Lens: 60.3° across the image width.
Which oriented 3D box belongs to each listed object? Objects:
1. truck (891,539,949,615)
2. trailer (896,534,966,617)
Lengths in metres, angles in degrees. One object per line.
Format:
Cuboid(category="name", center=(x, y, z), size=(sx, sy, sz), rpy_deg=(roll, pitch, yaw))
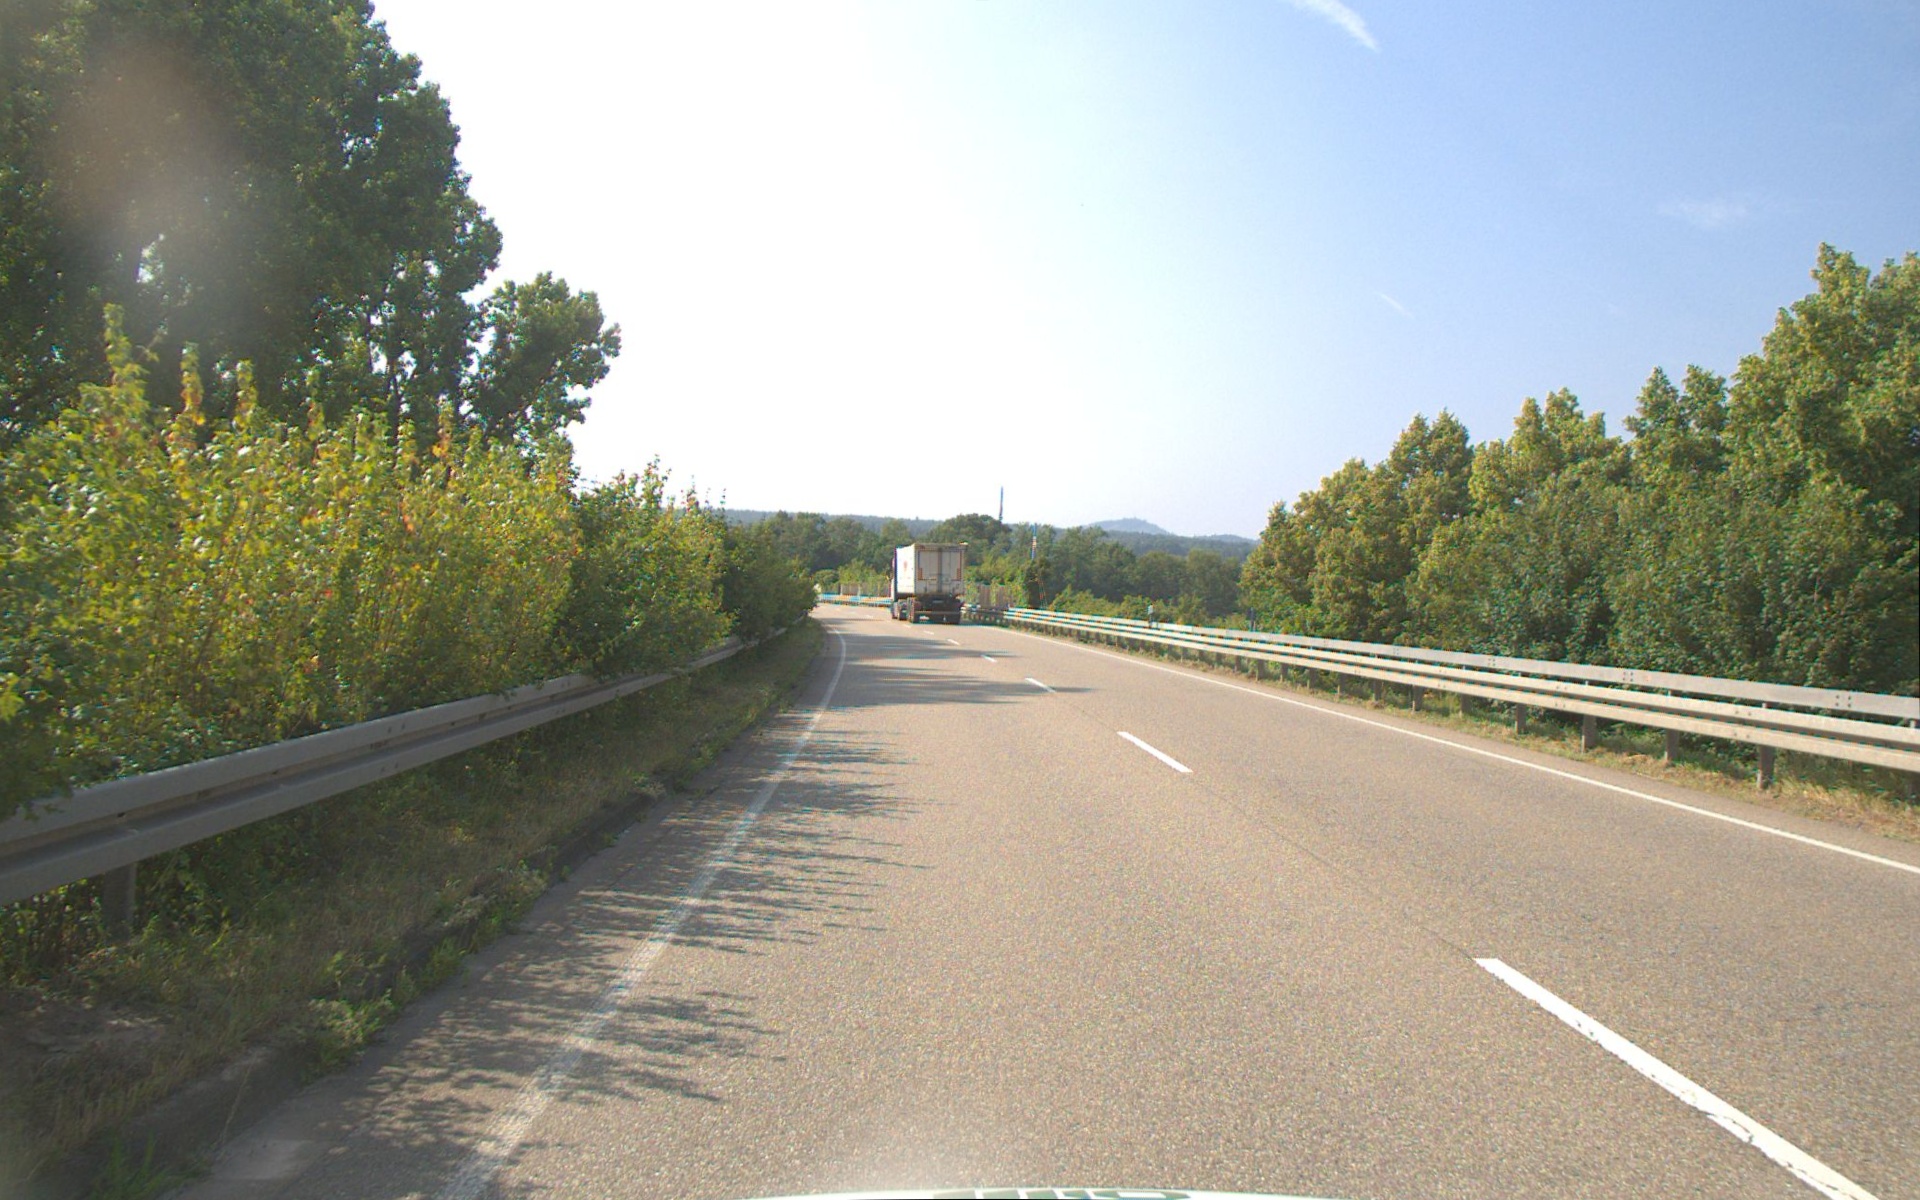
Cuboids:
Cuboid(category="truck", center=(-2.254, -1.261, 90.760), size=(2.608, 3.964, 5.640), rpy_deg=(1, 0, -7))
Cuboid(category="trailer", center=(-1.568, -1.213, 84.832), size=(2.628, 3.975, 9.659), rpy_deg=(1, 0, -6))
